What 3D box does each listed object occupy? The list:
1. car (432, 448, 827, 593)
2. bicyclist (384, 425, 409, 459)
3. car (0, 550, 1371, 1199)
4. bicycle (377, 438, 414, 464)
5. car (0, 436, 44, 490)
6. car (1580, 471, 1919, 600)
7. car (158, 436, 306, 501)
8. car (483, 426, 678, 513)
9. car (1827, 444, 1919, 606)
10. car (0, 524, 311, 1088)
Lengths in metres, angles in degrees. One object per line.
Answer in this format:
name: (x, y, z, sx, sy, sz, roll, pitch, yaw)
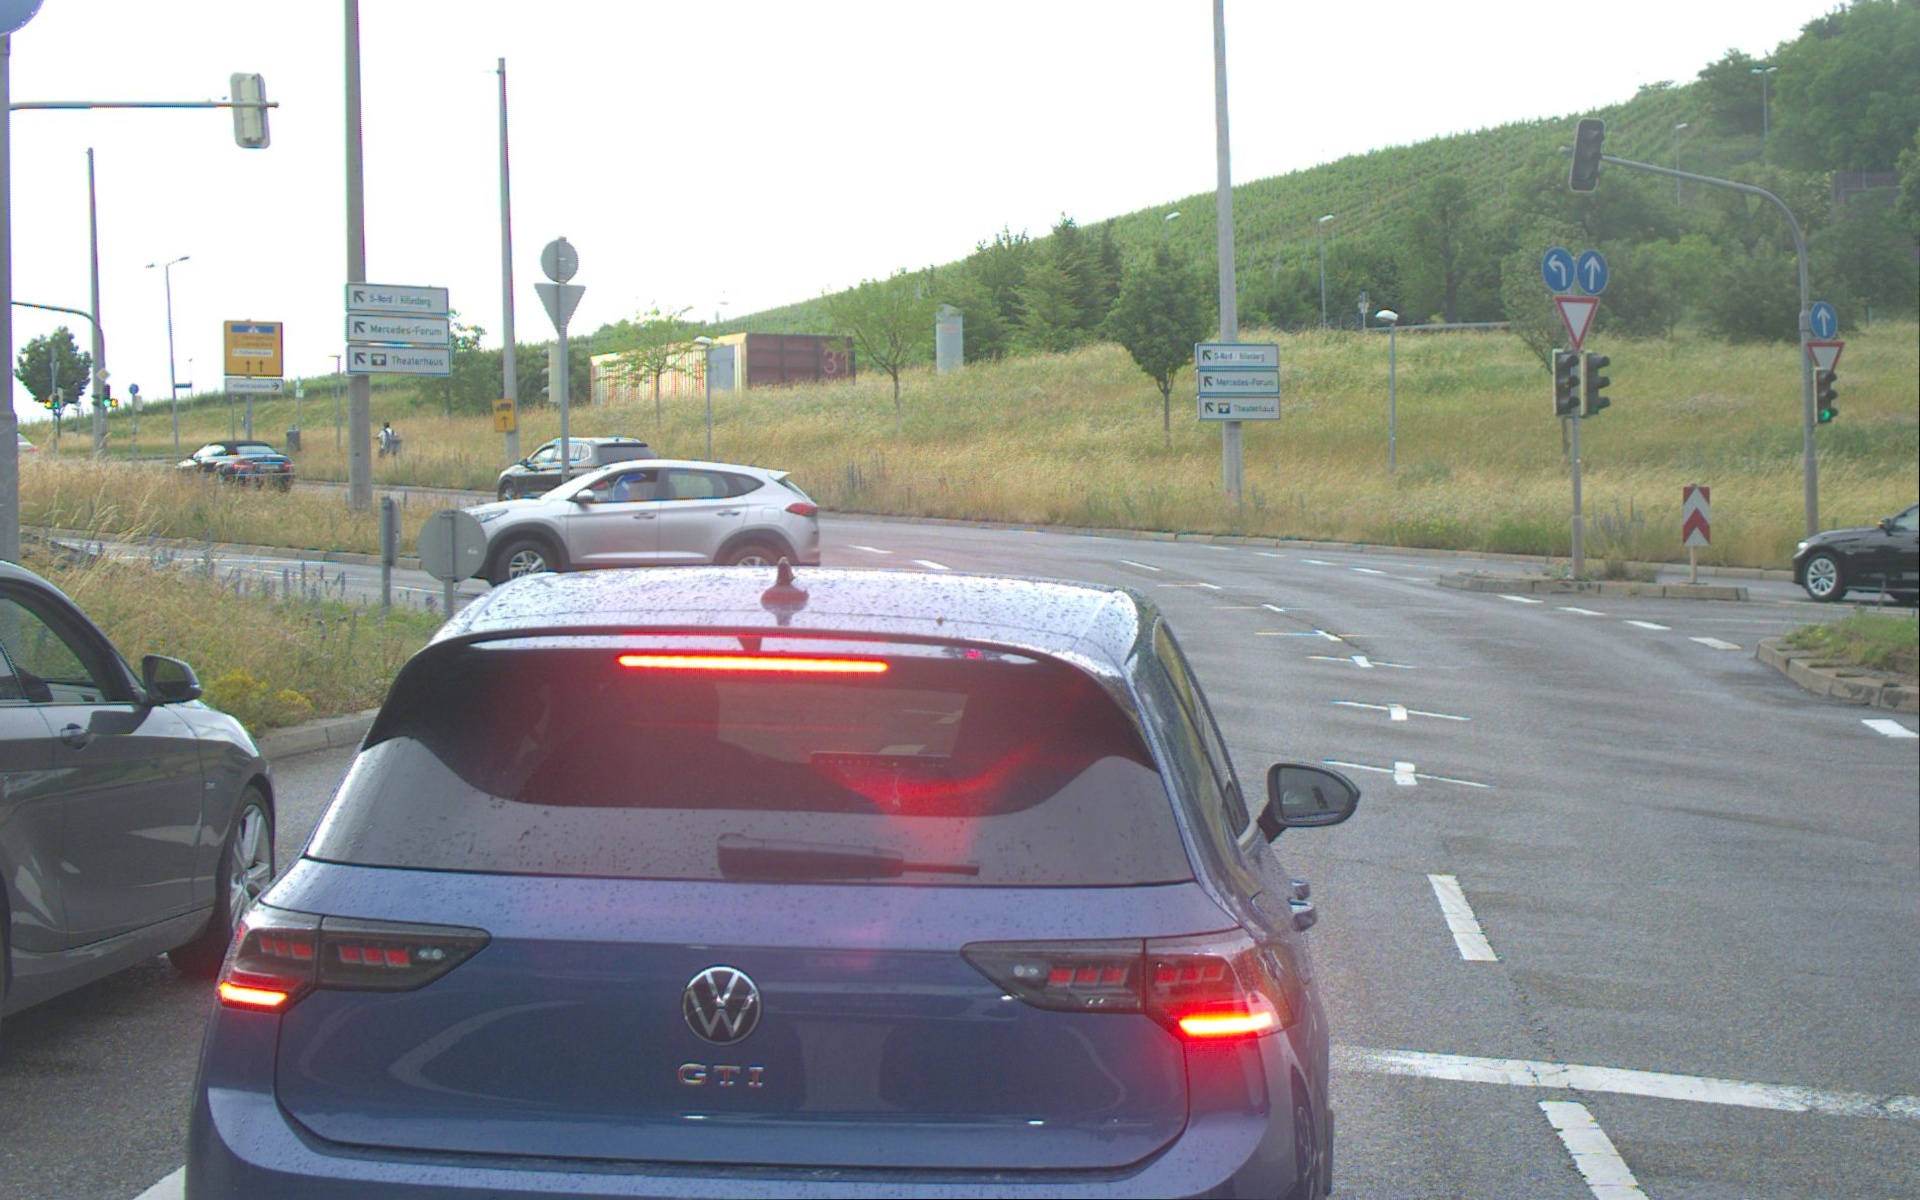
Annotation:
car: (-3.964, -0.921, 40.828, 4.509, 1.615, 2.001, 1, 0, -10)
bicyclist: (-18.090, -5.062, 110.320, 0.523, 1.043, 0.580, 3, 1, -34)
car: (-0.227, 0.647, 6.399, 1.825, 1.455, 3.808, 0, 1, 5)
bicycle: (-18.127, -4.779, 110.375, 0.518, 0.772, 1.621, 2, 1, -33)
car: (-29.237, -4.090, 103.037, 1.994, 1.472, 4.420, 1, 0, -36)
car: (10.744, -0.902, 45.794, 1.994, 1.612, 4.851, -1, 3, -36)
car: (-18.342, -3.282, 86.441, 1.994, 1.472, 4.502, 1, 0, -36)
car: (-7.840, -2.658, 70.723, 1.994, 1.631, 4.420, 1, 0, -37)
car: (13.044, -0.912, 42.711, 1.994, 2.007, 3.999, 1, 0, -39)
car: (-3.255, 0.514, 9.806, 1.703, 1.454, 4.114, 0, 1, 5)
